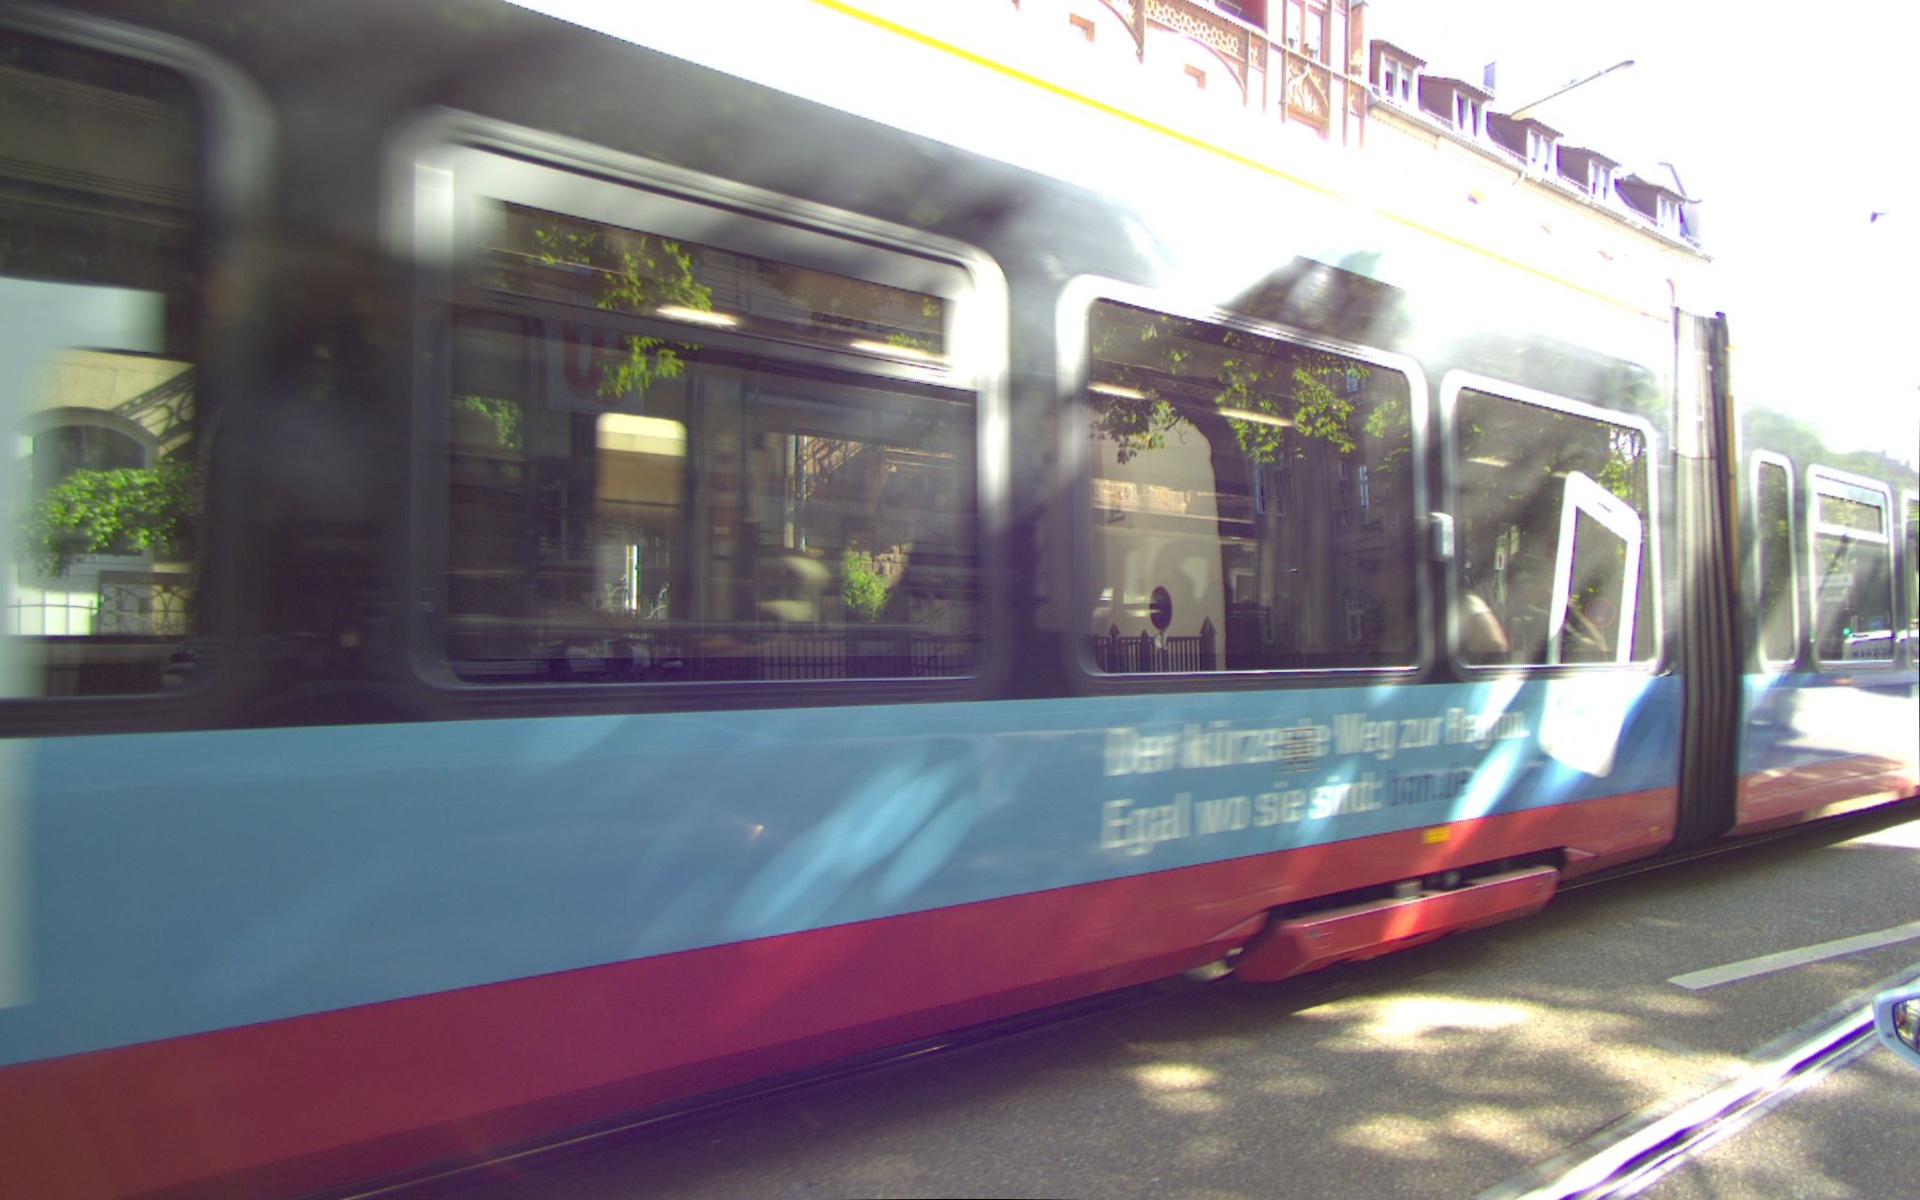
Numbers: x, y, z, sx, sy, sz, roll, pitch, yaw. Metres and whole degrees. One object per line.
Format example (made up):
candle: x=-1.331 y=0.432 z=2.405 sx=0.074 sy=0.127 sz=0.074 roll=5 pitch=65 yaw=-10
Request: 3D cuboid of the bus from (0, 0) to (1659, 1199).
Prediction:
bus: x=-2.089 y=-0.540 z=2.985 sx=11.064 sy=3.827 sz=2.843 roll=2 pitch=0 yaw=-33

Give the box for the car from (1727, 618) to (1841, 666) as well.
car: x=38.506 y=1.944 z=47.094 sx=1.961 sy=2.040 sz=3.999 roll=2 pitch=0 yaw=-2

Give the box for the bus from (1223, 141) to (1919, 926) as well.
bus: x=7.764 y=-0.136 z=9.402 sx=12.067 sy=3.827 sz=2.833 roll=2 pitch=0 yaw=-33
